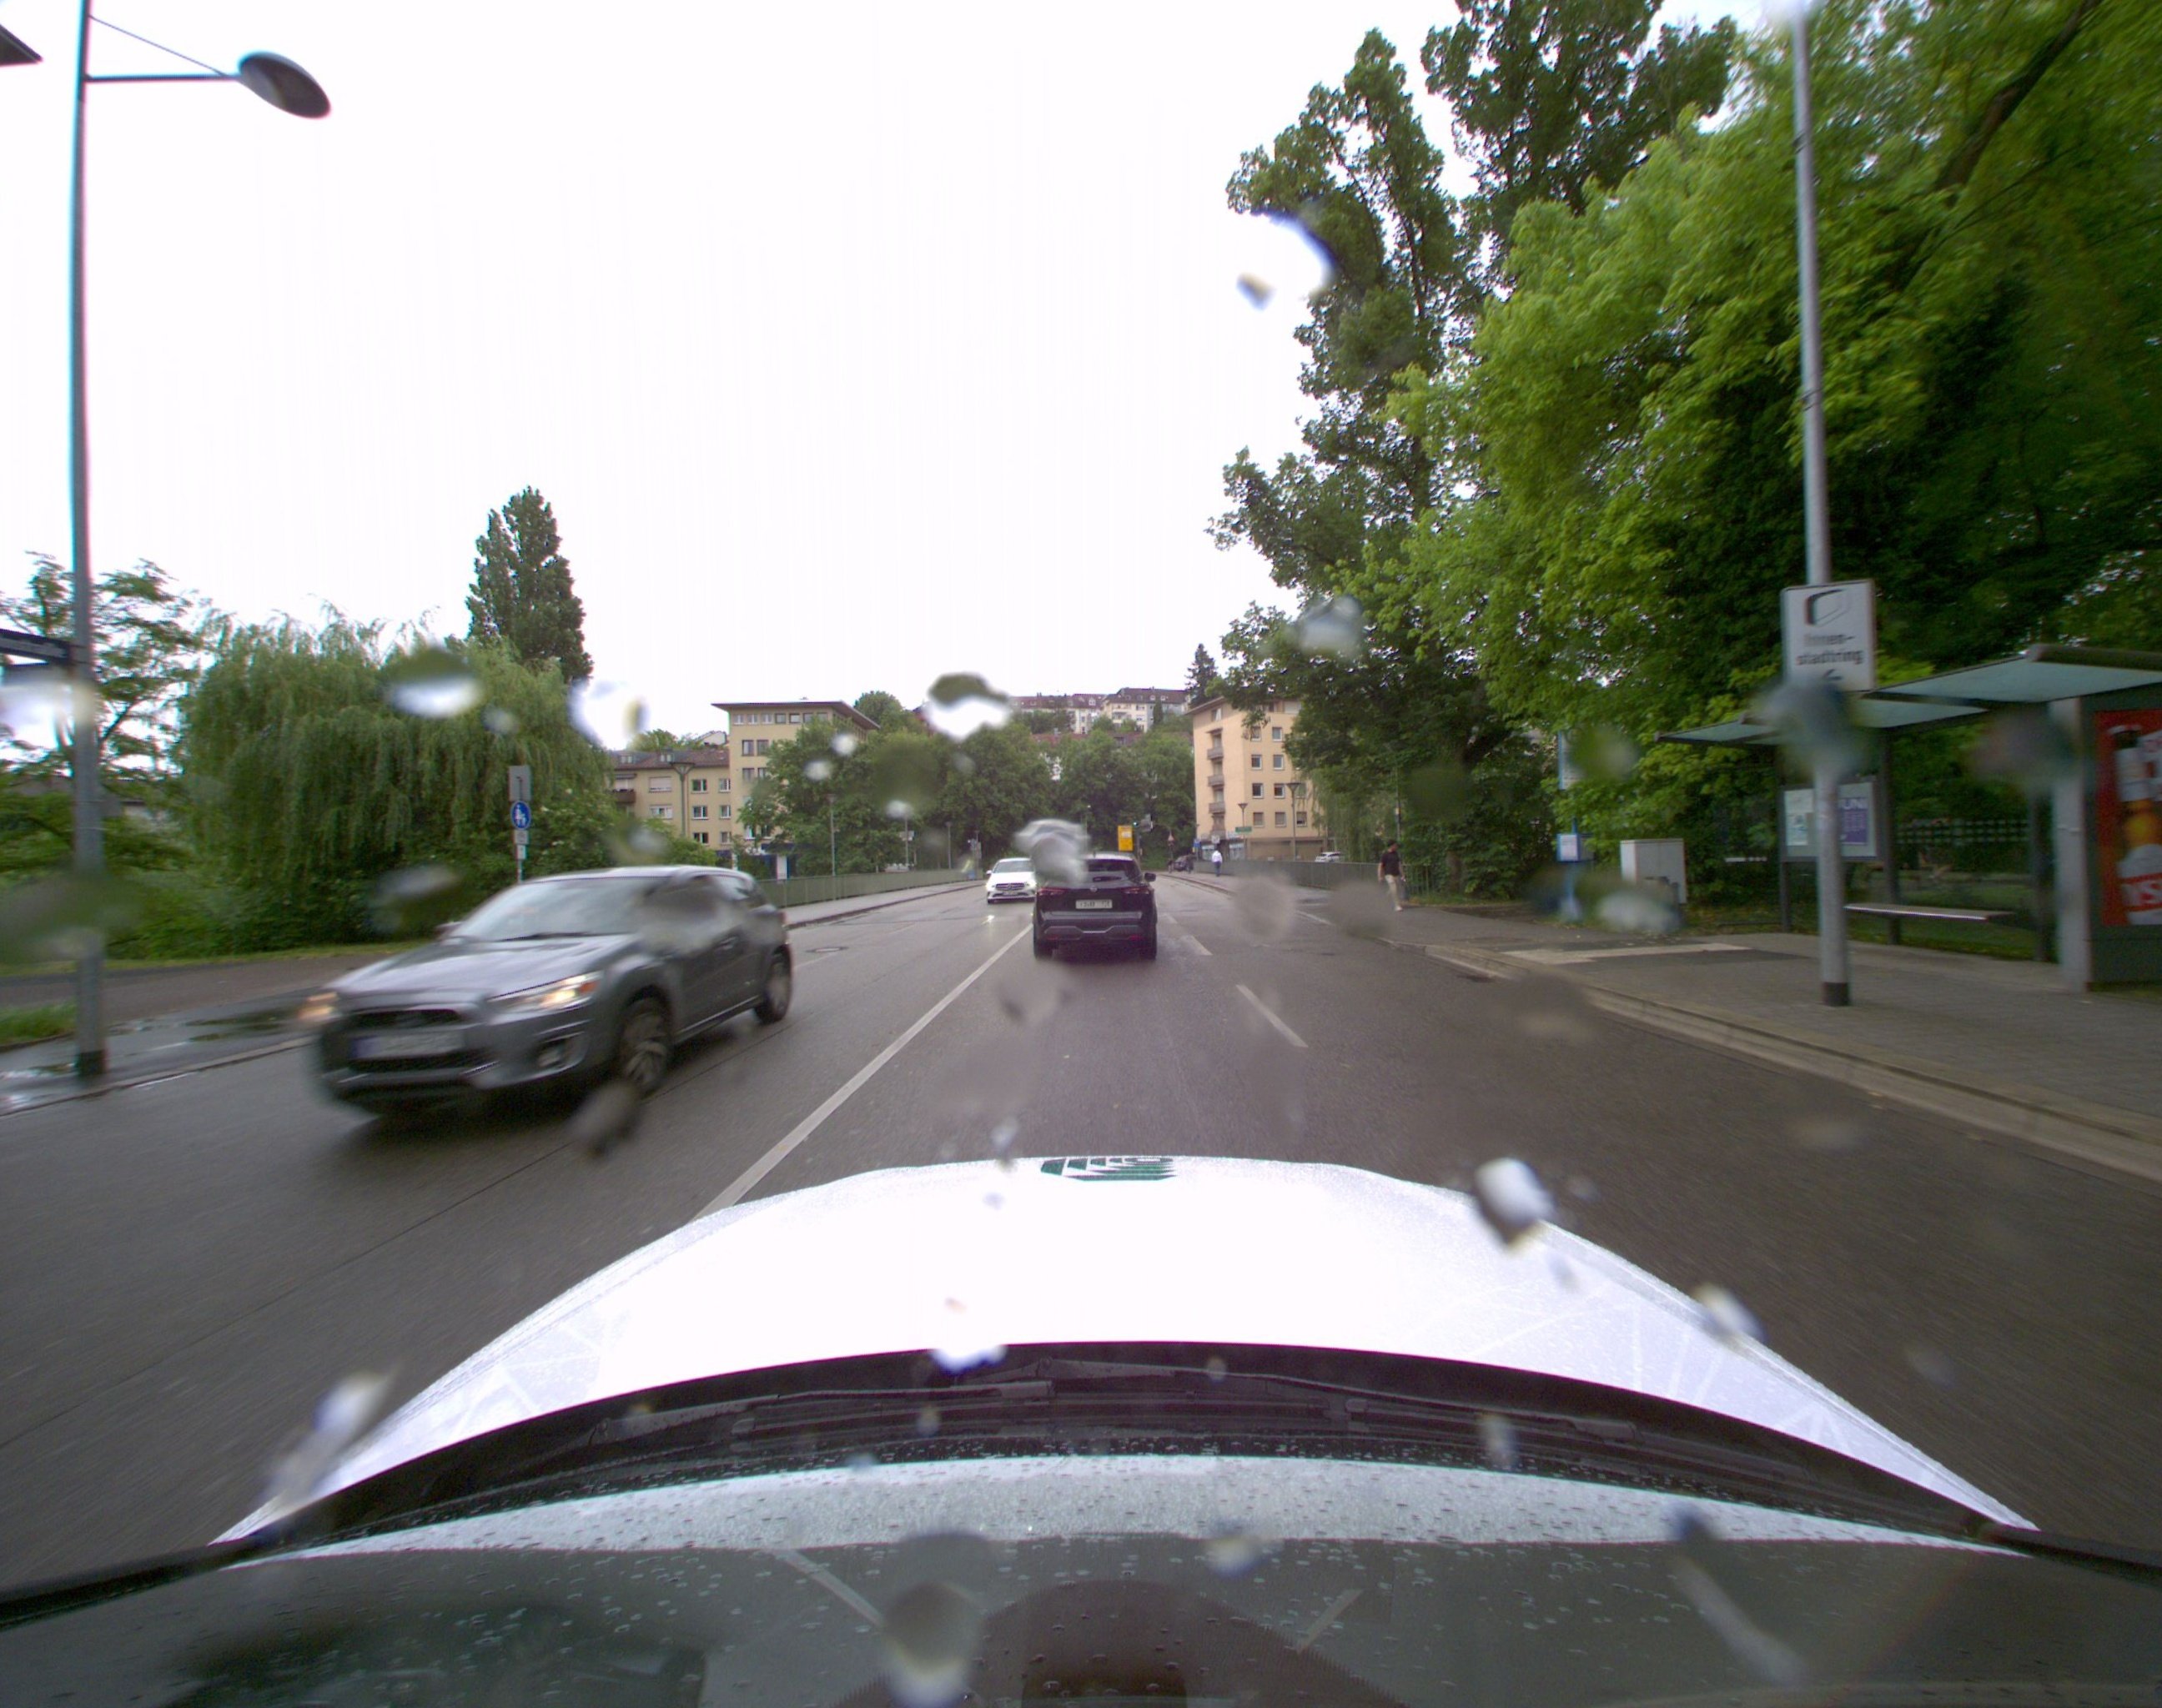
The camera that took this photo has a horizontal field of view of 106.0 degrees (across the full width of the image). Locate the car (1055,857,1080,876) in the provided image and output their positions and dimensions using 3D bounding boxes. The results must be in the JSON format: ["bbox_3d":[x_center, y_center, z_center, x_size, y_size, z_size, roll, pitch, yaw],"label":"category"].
[{"bbox_3d":[-1.091,1.026,66.606,1.739,1.439,4.002,-2,0,2],"label":"car"}]

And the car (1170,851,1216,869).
[{"bbox_3d":[11.800,0.609,85.972,4.387,1.649,1.868,-3,-1,-24],"label":"car"}]

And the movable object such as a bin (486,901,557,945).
[{"bbox_3d":[-12.375,1.508,18.031,0.962,0.877,0.833,-2,-1,1],"label":"movable object such as a bin"}]

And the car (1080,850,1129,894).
[{"bbox_3d":[0.928,0.673,32.094,1.804,1.603,4.002,0,0,2],"label":"car"}]

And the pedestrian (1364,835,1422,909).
[{"bbox_3d":[7.549,0.428,19.759,0.844,1.676,1.168,-4,-1,1],"label":"pedestrian"}]

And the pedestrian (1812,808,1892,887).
[{"bbox_3d":[17.929,-0.141,18.953,1.055,1.752,0.781,-2,-1,-4],"label":"pedestrian"}]

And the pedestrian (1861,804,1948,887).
[{"bbox_3d":[18.114,-0.171,17.931,1.055,1.752,0.781,-2,-1,-4],"label":"pedestrian"}]

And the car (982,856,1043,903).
[{"bbox_3d":[-2.401,0.858,29.473,1.776,1.474,4.165,-3,0,-1],"label":"car"}]

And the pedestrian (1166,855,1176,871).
[{"bbox_3d":[9.003,0.899,81.673,0.859,1.619,0.840,-3,-1,2],"label":"pedestrian"}]

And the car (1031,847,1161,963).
[{"bbox_3d":[0.272,0.718,13.383,1.804,1.603,4.002,-1,0,2],"label":"car"}]

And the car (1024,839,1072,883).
[{"bbox_3d":[-1.858,0.365,48.299,2.281,2.308,6.511,-3,0,1],"label":"car"}]

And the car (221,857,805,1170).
[{"bbox_3d":[-3.817,0.872,6.589,1.809,1.579,4.227,-3,0,-3],"label":"car"}]

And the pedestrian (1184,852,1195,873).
[{"bbox_3d":[8.949,0.708,67.258,0.758,1.677,0.781,-4,0,2],"label":"pedestrian"}]

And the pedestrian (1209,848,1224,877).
[{"bbox_3d":[8.626,0.541,51.863,0.777,1.752,1.061,-2,-1,1],"label":"pedestrian"}]

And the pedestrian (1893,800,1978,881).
[{"bbox_3d":[19.358,-0.301,18.468,1.055,1.752,0.781,-2,-1,-4],"label":"pedestrian"}]

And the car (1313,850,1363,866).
[{"bbox_3d":[25.490,0.369,80.718,4.447,1.376,1.808,-2,2,-15],"label":"car"}]

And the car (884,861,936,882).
[{"bbox_3d":[-16.505,1.688,78.785,4.738,1.854,1.995,-2,1,-7],"label":"car"}]
